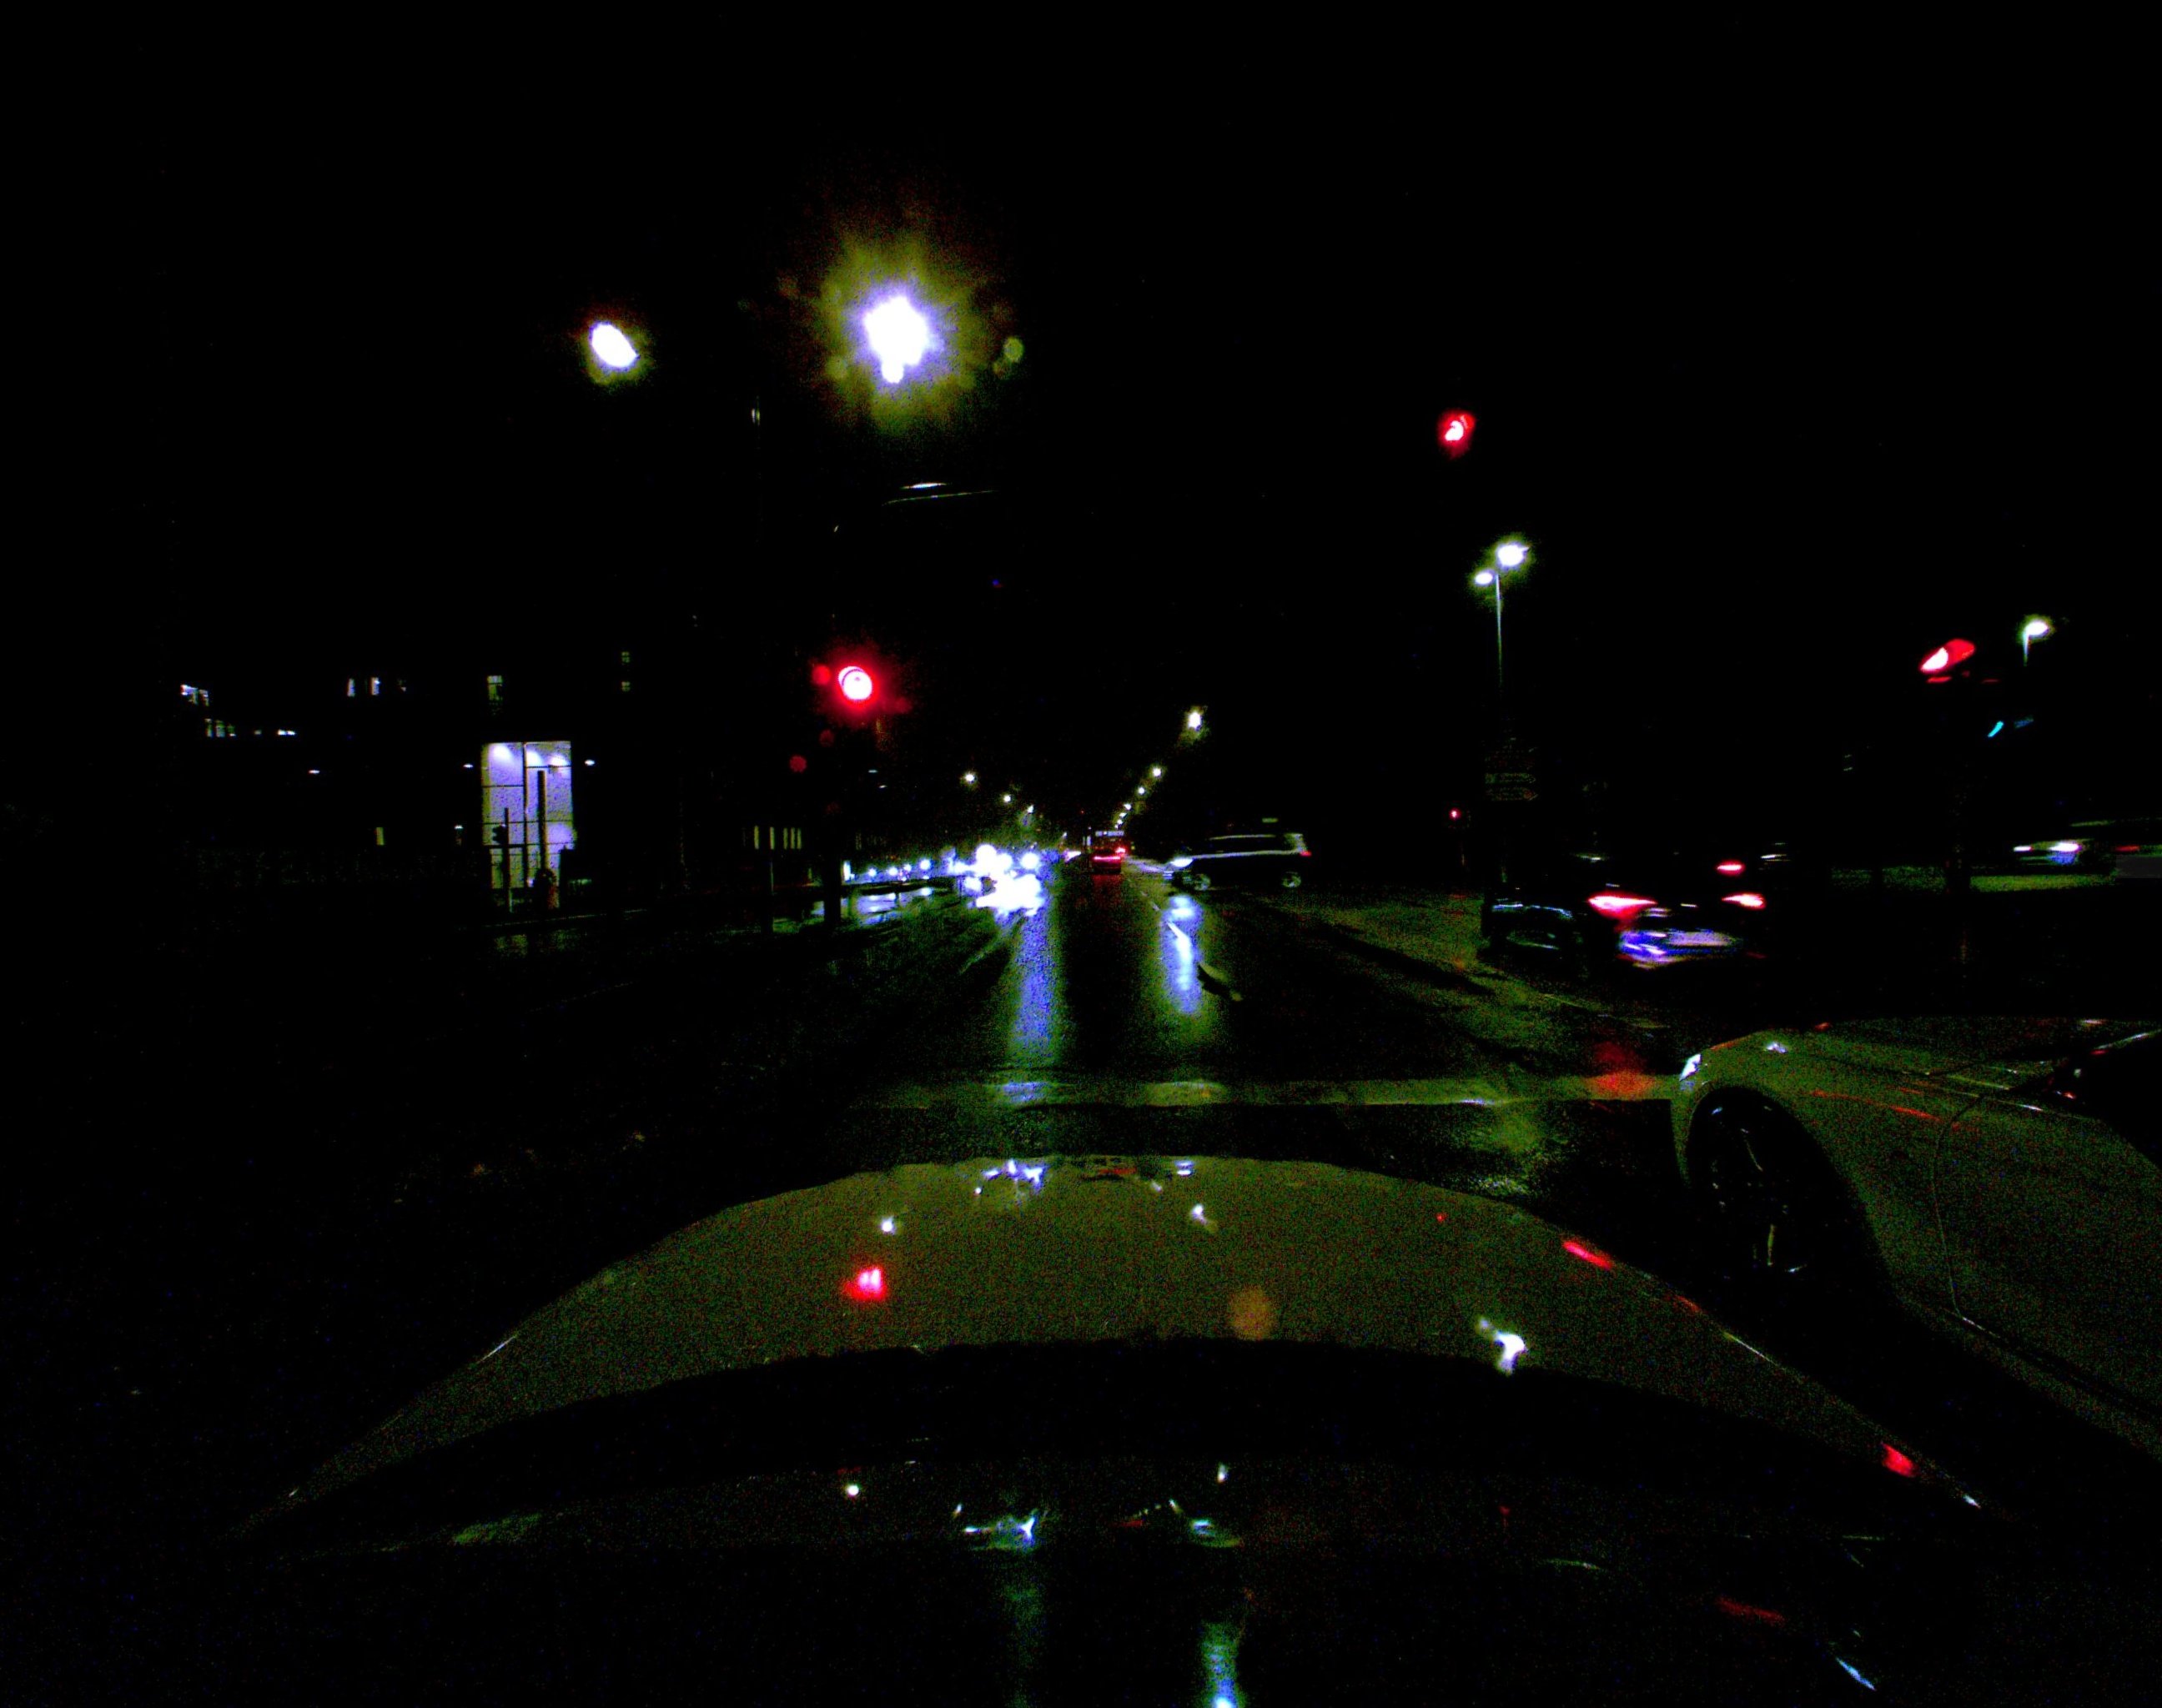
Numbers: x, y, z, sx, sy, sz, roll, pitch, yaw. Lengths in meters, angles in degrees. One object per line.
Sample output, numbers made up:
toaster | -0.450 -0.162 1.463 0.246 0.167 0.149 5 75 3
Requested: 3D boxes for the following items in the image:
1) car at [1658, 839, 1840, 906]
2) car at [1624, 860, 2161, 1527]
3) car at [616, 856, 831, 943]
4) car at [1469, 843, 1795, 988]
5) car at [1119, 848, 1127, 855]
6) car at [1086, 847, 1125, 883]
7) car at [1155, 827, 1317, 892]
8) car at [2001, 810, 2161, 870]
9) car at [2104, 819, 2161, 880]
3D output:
car | 15.447 0.353 18.780 4.579 1.390 1.741 -1 0 -30
car | 3.127 0.714 1.308 1.710 1.404 4.351 0 -1 2
car | -8.148 0.979 18.911 1.887 1.588 4.108 -3 1 33
car | 6.397 0.600 10.028 1.741 1.431 3.766 -1 1 6
car | 10.911 -0.621 210.745 1.986 1.759 4.001 0 -1 2
car | 1.474 0.672 51.257 2.130 2.145 4.923 0 -1 -3
car | 5.309 0.167 28.121 5.092 1.984 1.993 -2 0 -10
car | 37.084 -0.514 29.529 5.074 1.984 2.001 -2 0 1
car | 27.452 -0.118 19.467 3.560 1.459 1.643 0 -1 9
